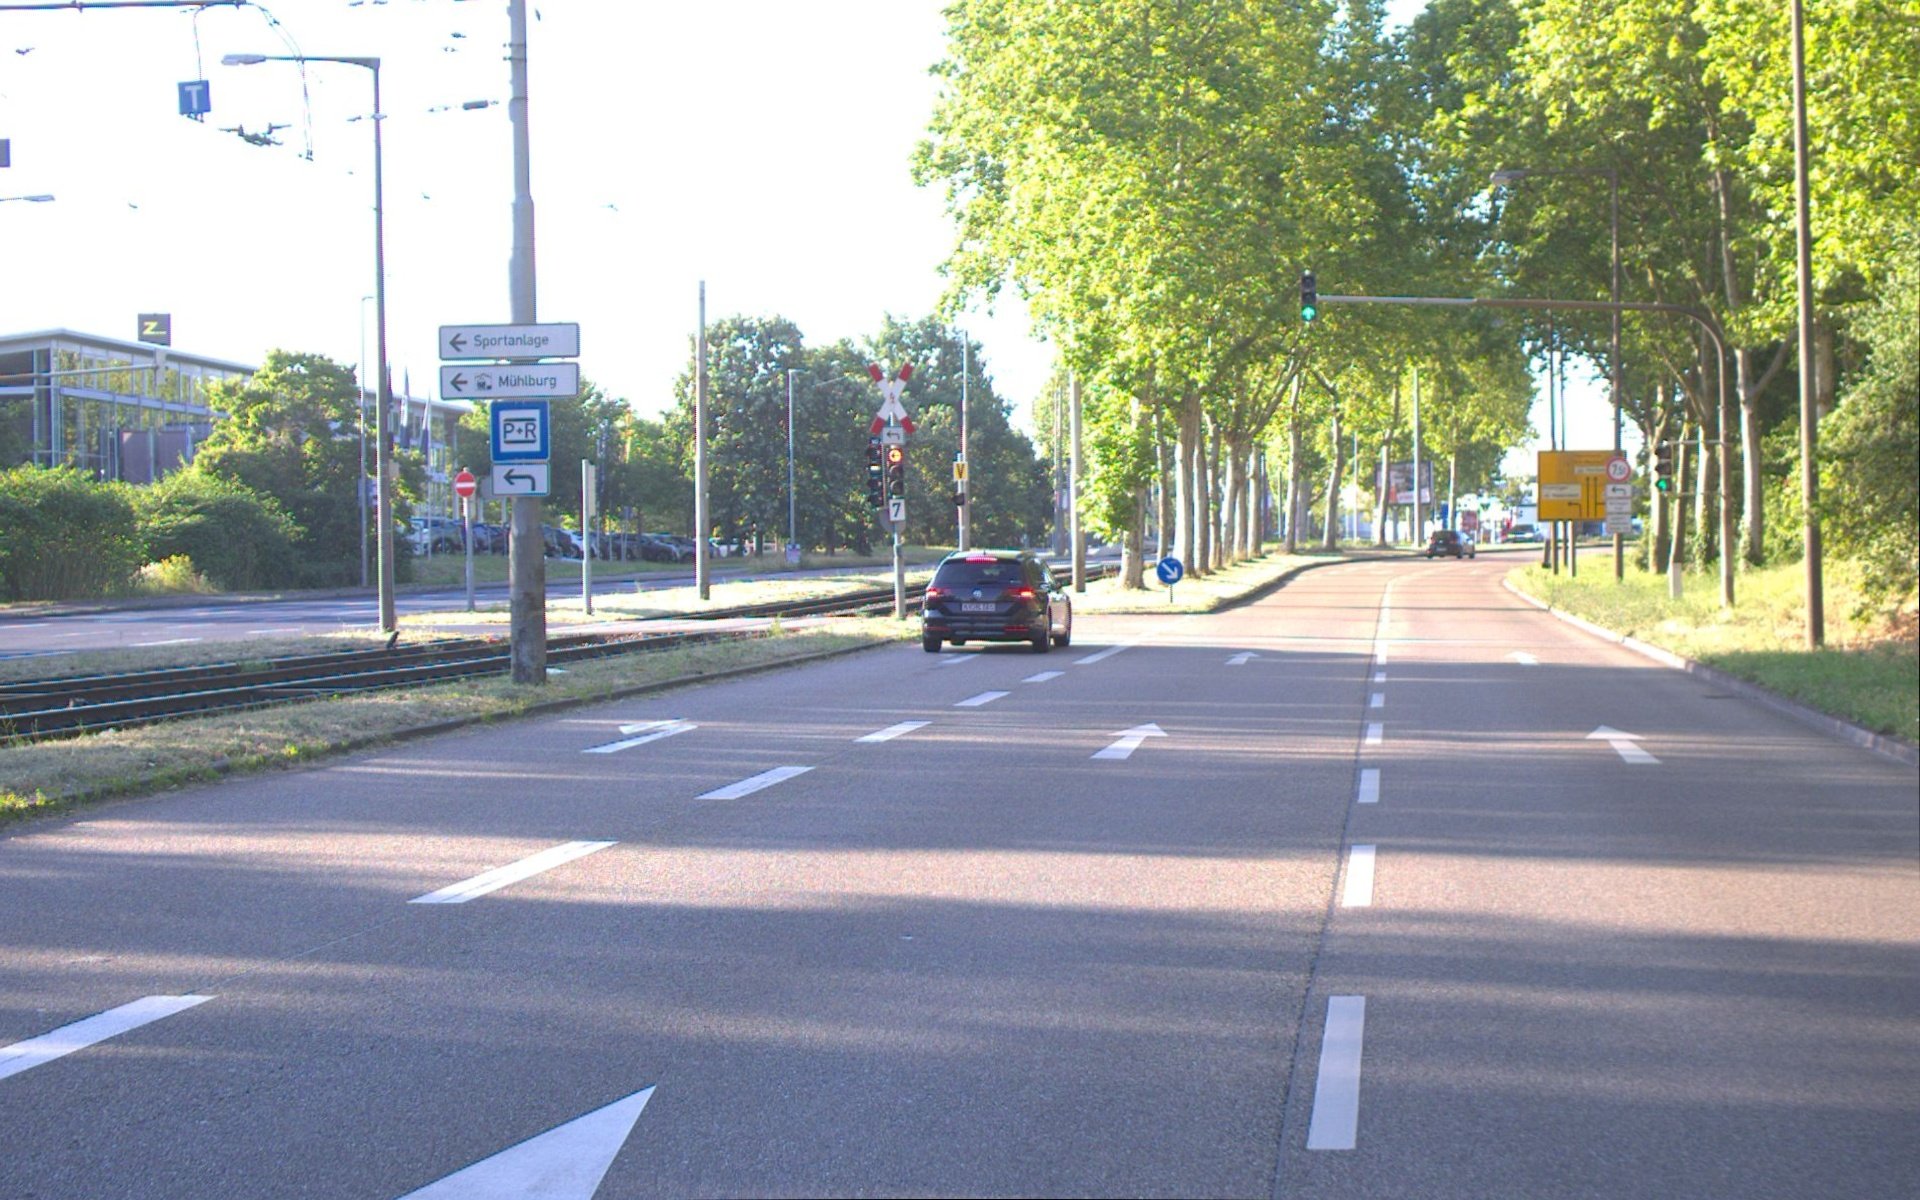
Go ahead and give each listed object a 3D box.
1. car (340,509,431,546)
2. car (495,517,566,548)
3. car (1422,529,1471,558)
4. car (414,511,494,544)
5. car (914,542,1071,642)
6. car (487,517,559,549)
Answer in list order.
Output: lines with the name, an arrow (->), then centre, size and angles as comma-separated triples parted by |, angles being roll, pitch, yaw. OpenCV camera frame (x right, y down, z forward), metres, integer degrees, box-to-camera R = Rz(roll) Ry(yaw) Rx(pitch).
car -> -21.602, -2.725, 129.339 | 3.142, 1.387, 1.455 | 1, 1, 4
car -> -20.673, -3.252, 165.560 | 3.142, 1.485, 1.455 | 1, 1, 4
car -> 24.312, -2.806, 171.715 | 1.794, 1.398, 3.685 | 0, 0, 18
car -> -21.747, -3.099, 147.849 | 3.142, 1.387, 1.455 | 1, 1, 4
car -> 0.511, -0.136, 49.708 | 1.793, 1.398, 3.688 | 0, 1, 8
car -> -20.653, -3.183, 162.572 | 3.142, 1.485, 1.455 | 1, 1, 4
